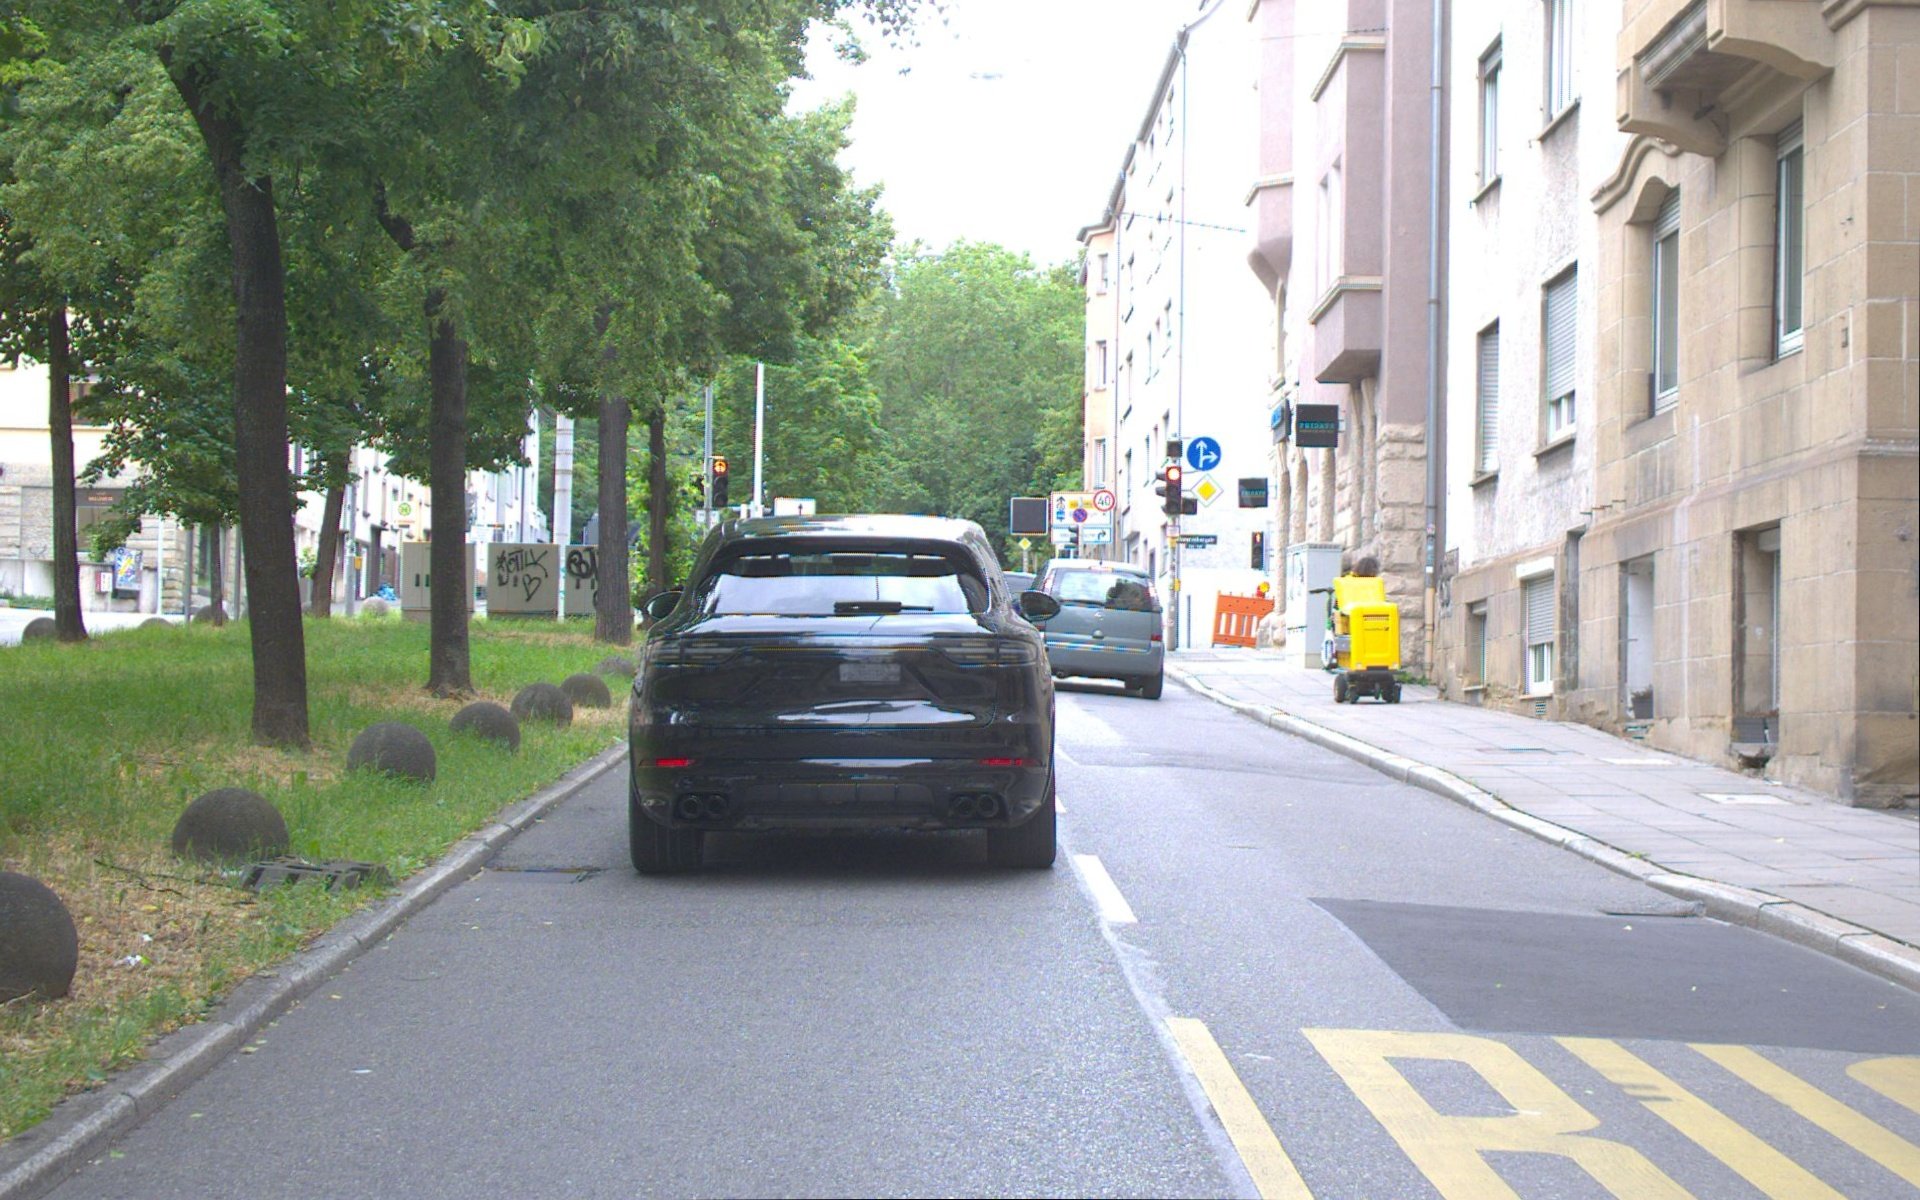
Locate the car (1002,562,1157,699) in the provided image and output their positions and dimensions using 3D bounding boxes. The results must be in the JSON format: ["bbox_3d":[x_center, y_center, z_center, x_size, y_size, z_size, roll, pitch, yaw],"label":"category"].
[{"bbox_3d":[1.425,0.344,42.123,1.752,1.588,3.630,0,0,0],"label":"car"}]

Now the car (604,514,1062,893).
[{"bbox_3d":[-0.559,0.418,17.013,1.994,1.647,4.000,0,1,0],"label":"car"}]

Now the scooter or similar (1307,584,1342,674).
[{"bbox_3d":[5.017,0.391,47.335,0.401,1.184,1.354,0,2,3],"label":"scooter or similar"}]

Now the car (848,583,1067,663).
[{"bbox_3d":[-0.034,0.455,70.593,4.207,1.505,1.799,2,1,11],"label":"car"}]

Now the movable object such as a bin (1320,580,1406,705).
[{"bbox_3d":[4.647,0.486,39.748,0.719,1.416,1.693,0,-1,-3],"label":"movable object such as a bin"}]
